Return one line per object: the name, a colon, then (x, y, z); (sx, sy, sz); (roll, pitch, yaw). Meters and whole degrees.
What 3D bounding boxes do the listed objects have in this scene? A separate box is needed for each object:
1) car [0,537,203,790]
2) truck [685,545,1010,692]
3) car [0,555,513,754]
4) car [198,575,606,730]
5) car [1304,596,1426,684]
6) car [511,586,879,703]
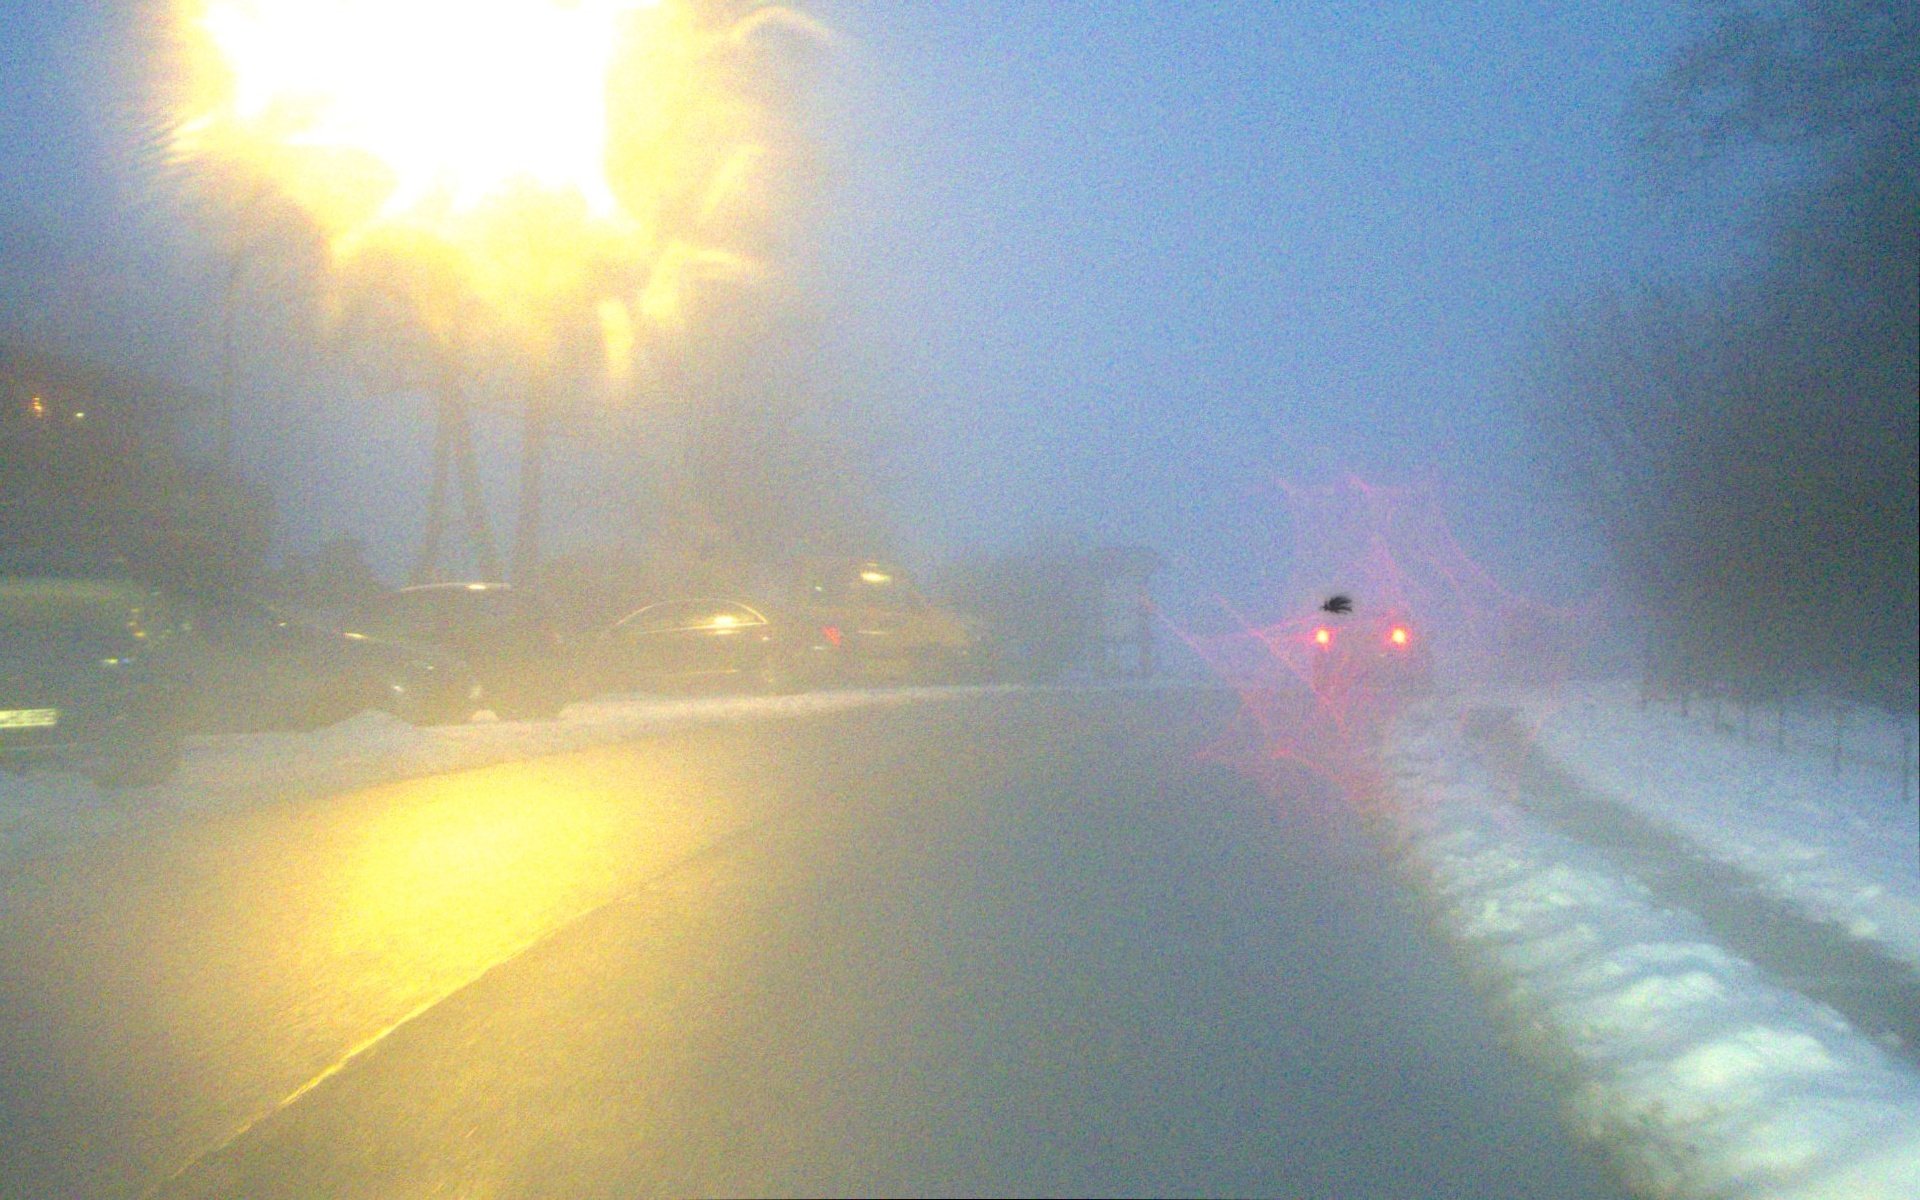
car: (-6.439, 0.459, 24.310); (1.993, 1.561, 4.998); (-3, 0, -12)
truck: (-1.881, 0.314, 58.719); (5.262, 2.295, 2.000); (-2, 0, 6)
car: (-6.306, 0.473, 30.086); (4.527, 1.561, 2.111); (-2, 0, -2)
car: (-5.773, 0.541, 35.886); (3.854, 1.466, 1.938); (-2, 0, 2)
car: (6.979, 0.706, 59.128); (1.994, 1.415, 3.998); (1, -1, 7)
car: (-3.741, 0.635, 49.079); (4.888, 1.480, 2.123); (-2, -1, 6)
